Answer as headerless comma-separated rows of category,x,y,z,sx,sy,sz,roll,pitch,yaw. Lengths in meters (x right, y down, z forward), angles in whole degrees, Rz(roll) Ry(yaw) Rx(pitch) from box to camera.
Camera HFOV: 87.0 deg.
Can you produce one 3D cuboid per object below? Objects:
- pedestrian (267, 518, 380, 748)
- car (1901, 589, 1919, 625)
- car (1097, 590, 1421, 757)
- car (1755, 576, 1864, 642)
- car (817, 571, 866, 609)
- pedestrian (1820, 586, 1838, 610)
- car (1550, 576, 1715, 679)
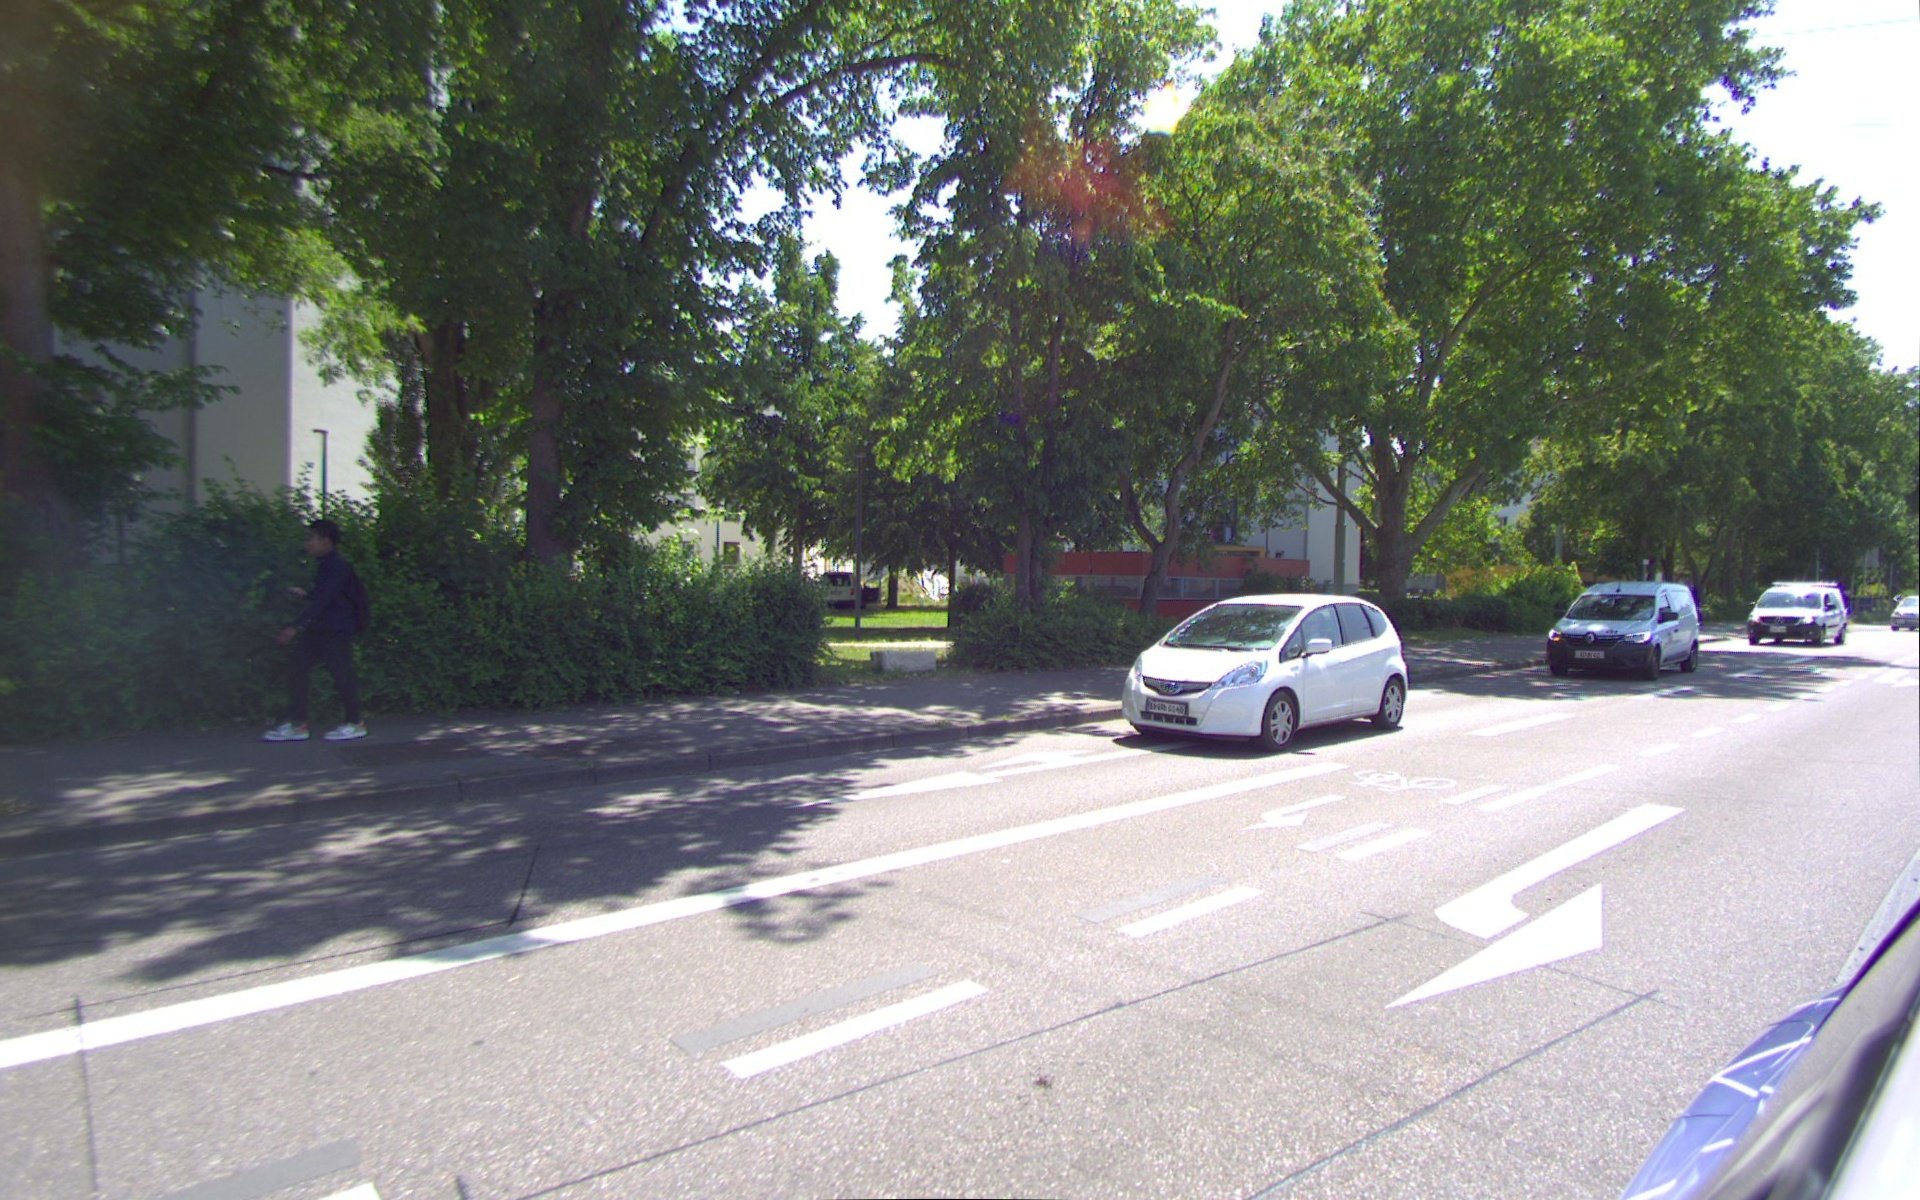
pedestrian,-5.392,0.247,8.564,0.681,1.838,0.754,0,2,-42
car,40.582,0.290,42.034,3.433,1.459,1.626,0,0,-37
car,3.383,0.654,11.090,3.812,1.507,1.722,0,0,-43
car,26.154,0.237,31.087,4.993,1.879,1.808,0,0,-41
car,-5.509,-0.446,47.519,1.709,1.722,3.746,0,0,3
pedestrian,51.830,-0.129,60.343,0.749,1.416,0.709,0,0,-40
car,13.113,0.464,19.627,4.352,1.769,1.711,0,0,-43
